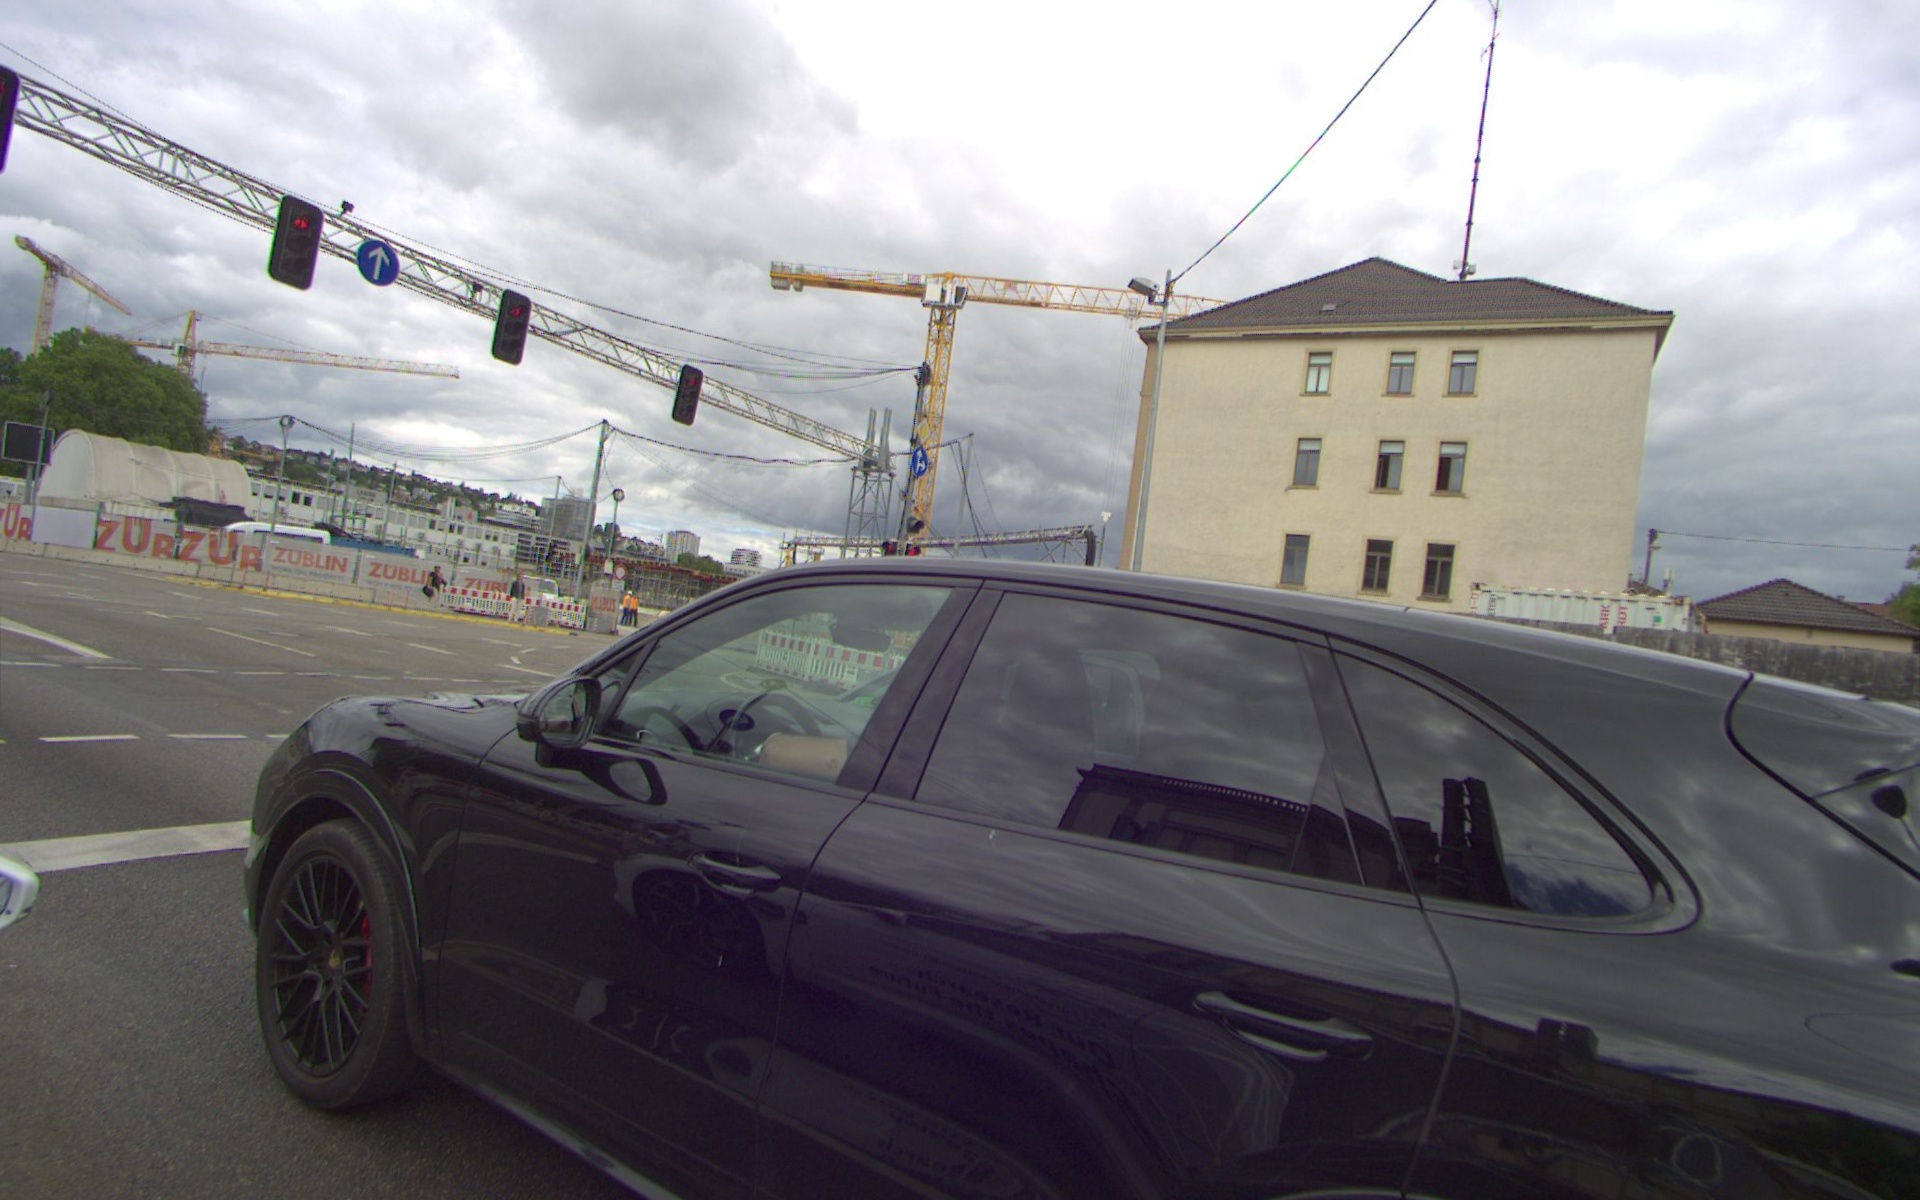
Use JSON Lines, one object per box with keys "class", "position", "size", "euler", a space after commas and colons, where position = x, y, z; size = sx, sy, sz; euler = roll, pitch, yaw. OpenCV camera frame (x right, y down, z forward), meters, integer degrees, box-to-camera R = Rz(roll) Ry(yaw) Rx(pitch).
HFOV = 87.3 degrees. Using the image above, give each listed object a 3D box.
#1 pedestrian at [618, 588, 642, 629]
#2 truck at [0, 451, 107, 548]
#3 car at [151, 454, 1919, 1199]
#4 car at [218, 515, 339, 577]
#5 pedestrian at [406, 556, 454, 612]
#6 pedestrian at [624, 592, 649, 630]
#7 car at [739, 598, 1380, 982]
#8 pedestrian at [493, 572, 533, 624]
{"class": "pedestrian", "position": [-17.641, 0.449, 53.820], "size": [0.855, 2.037, 0.677], "euler": [6, -1, 44]}
{"class": "truck", "position": [-57.718, -6.333, 60.217], "size": [3.054, 5.017, 9.759], "euler": [7, -2, 14]}
{"class": "car", "position": [0.000, 0.684, 2.710], "size": [4.505, 1.687, 1.997], "euler": [6, -2, 34]}
{"class": "car", "position": [-29.525, -2.323, 43.637], "size": [3.976, 2.037, 1.976], "euler": [9, -2, -43]}
{"class": "pedestrian", "position": [-20.968, -0.626, 39.811], "size": [1.016, 2.037, 1.046], "euler": [7, -1, 26]}
{"class": "pedestrian", "position": [-17.587, 0.589, 54.665], "size": [0.850, 1.938, 0.680], "euler": [7, -1, 26]}
{"class": "car", "position": [0.581, 0.993, 6.547], "size": [3.587, 1.527, 1.825], "euler": [6, -2, 33]}
{"class": "pedestrian", "position": [-17.401, -0.078, 39.177], "size": [1.040, 1.869, 0.781], "euler": [8, -1, -42]}
